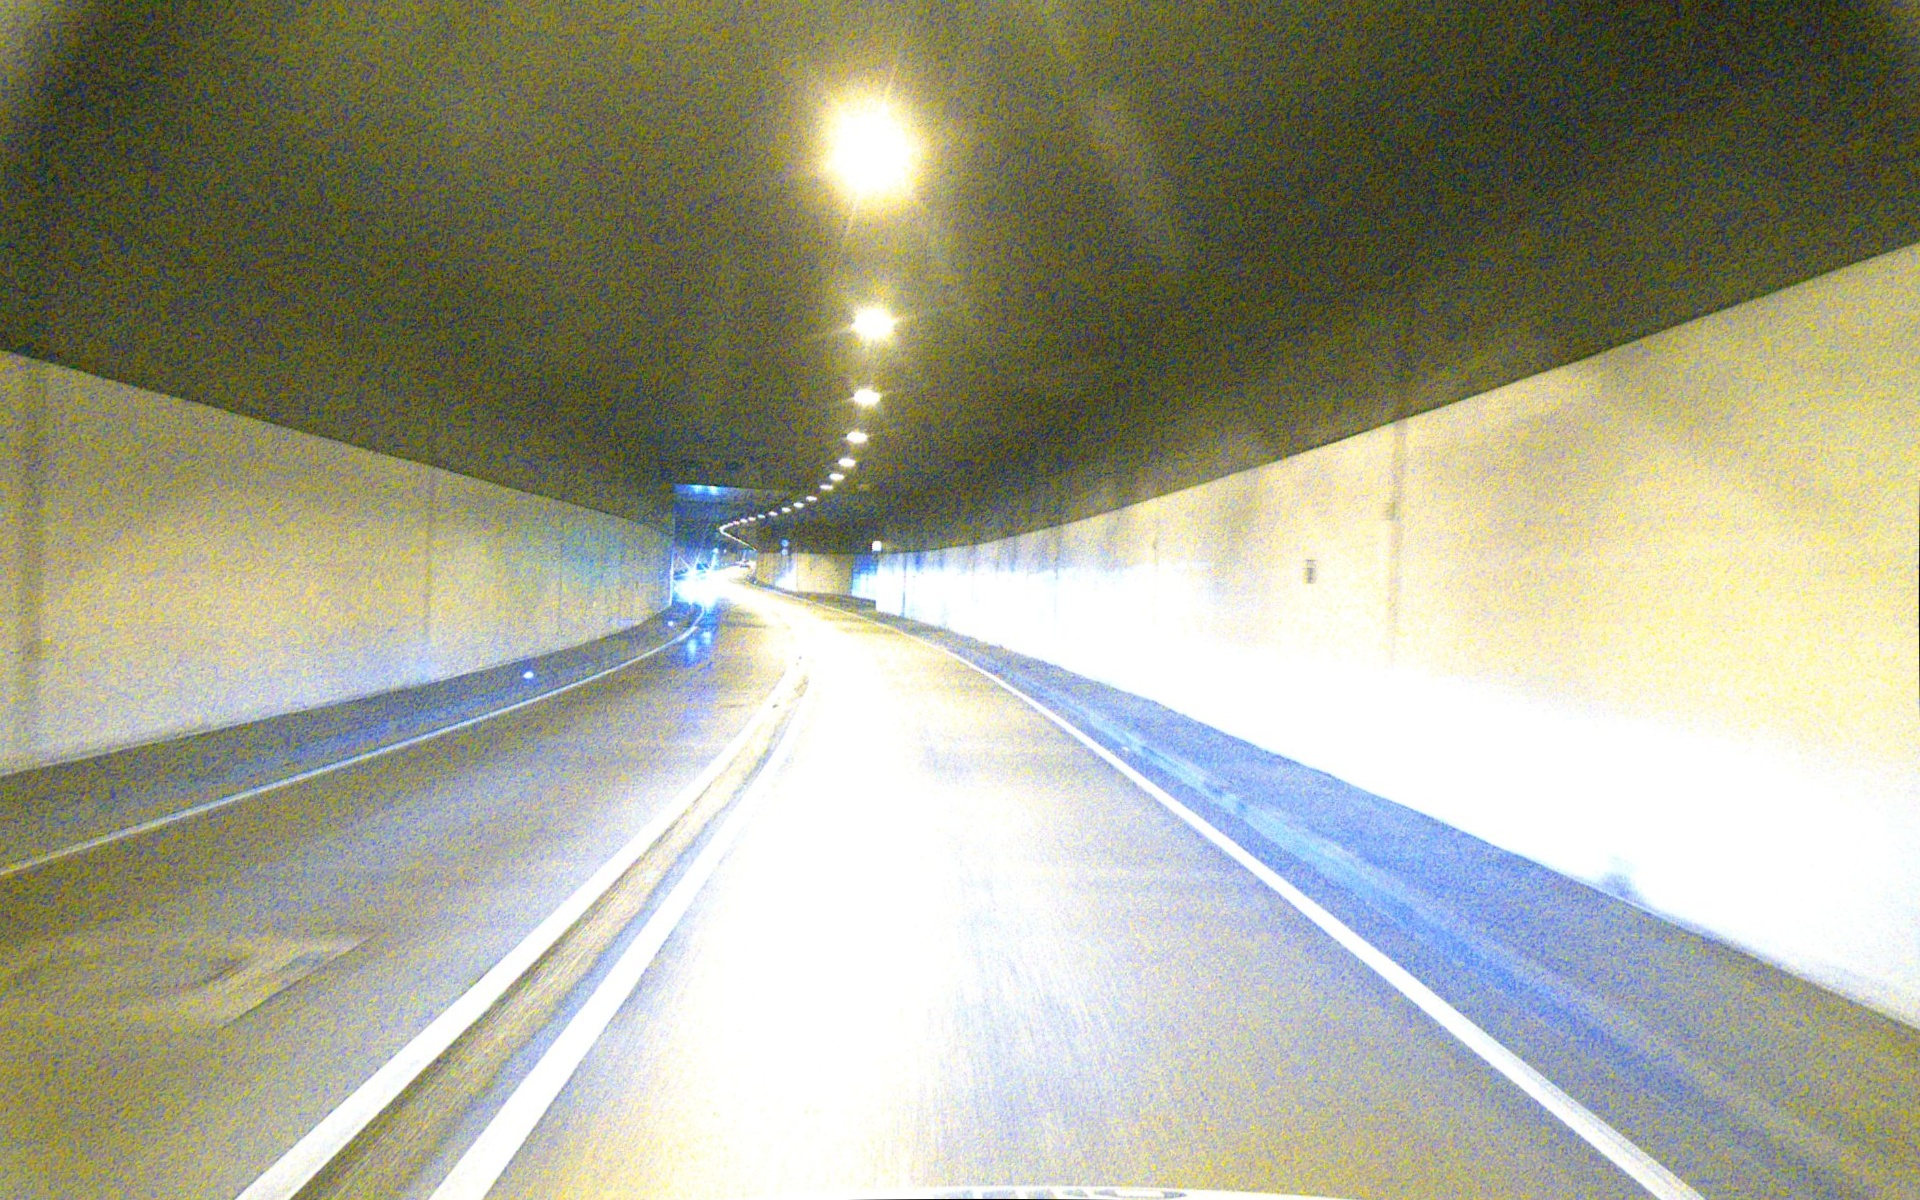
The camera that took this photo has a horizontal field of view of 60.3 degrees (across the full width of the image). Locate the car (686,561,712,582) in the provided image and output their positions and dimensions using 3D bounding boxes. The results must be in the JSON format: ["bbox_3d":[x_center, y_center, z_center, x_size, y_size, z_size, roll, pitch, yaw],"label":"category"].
[{"bbox_3d":[-22.519,-2.443,142.471,1.959,1.624,3.986,1,-1,-13],"label":"car"}]

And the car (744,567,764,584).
[{"bbox_3d":[-20.081,-2.365,160.924,1.568,1.481,3.608,1,-1,-13],"label":"car"}]
